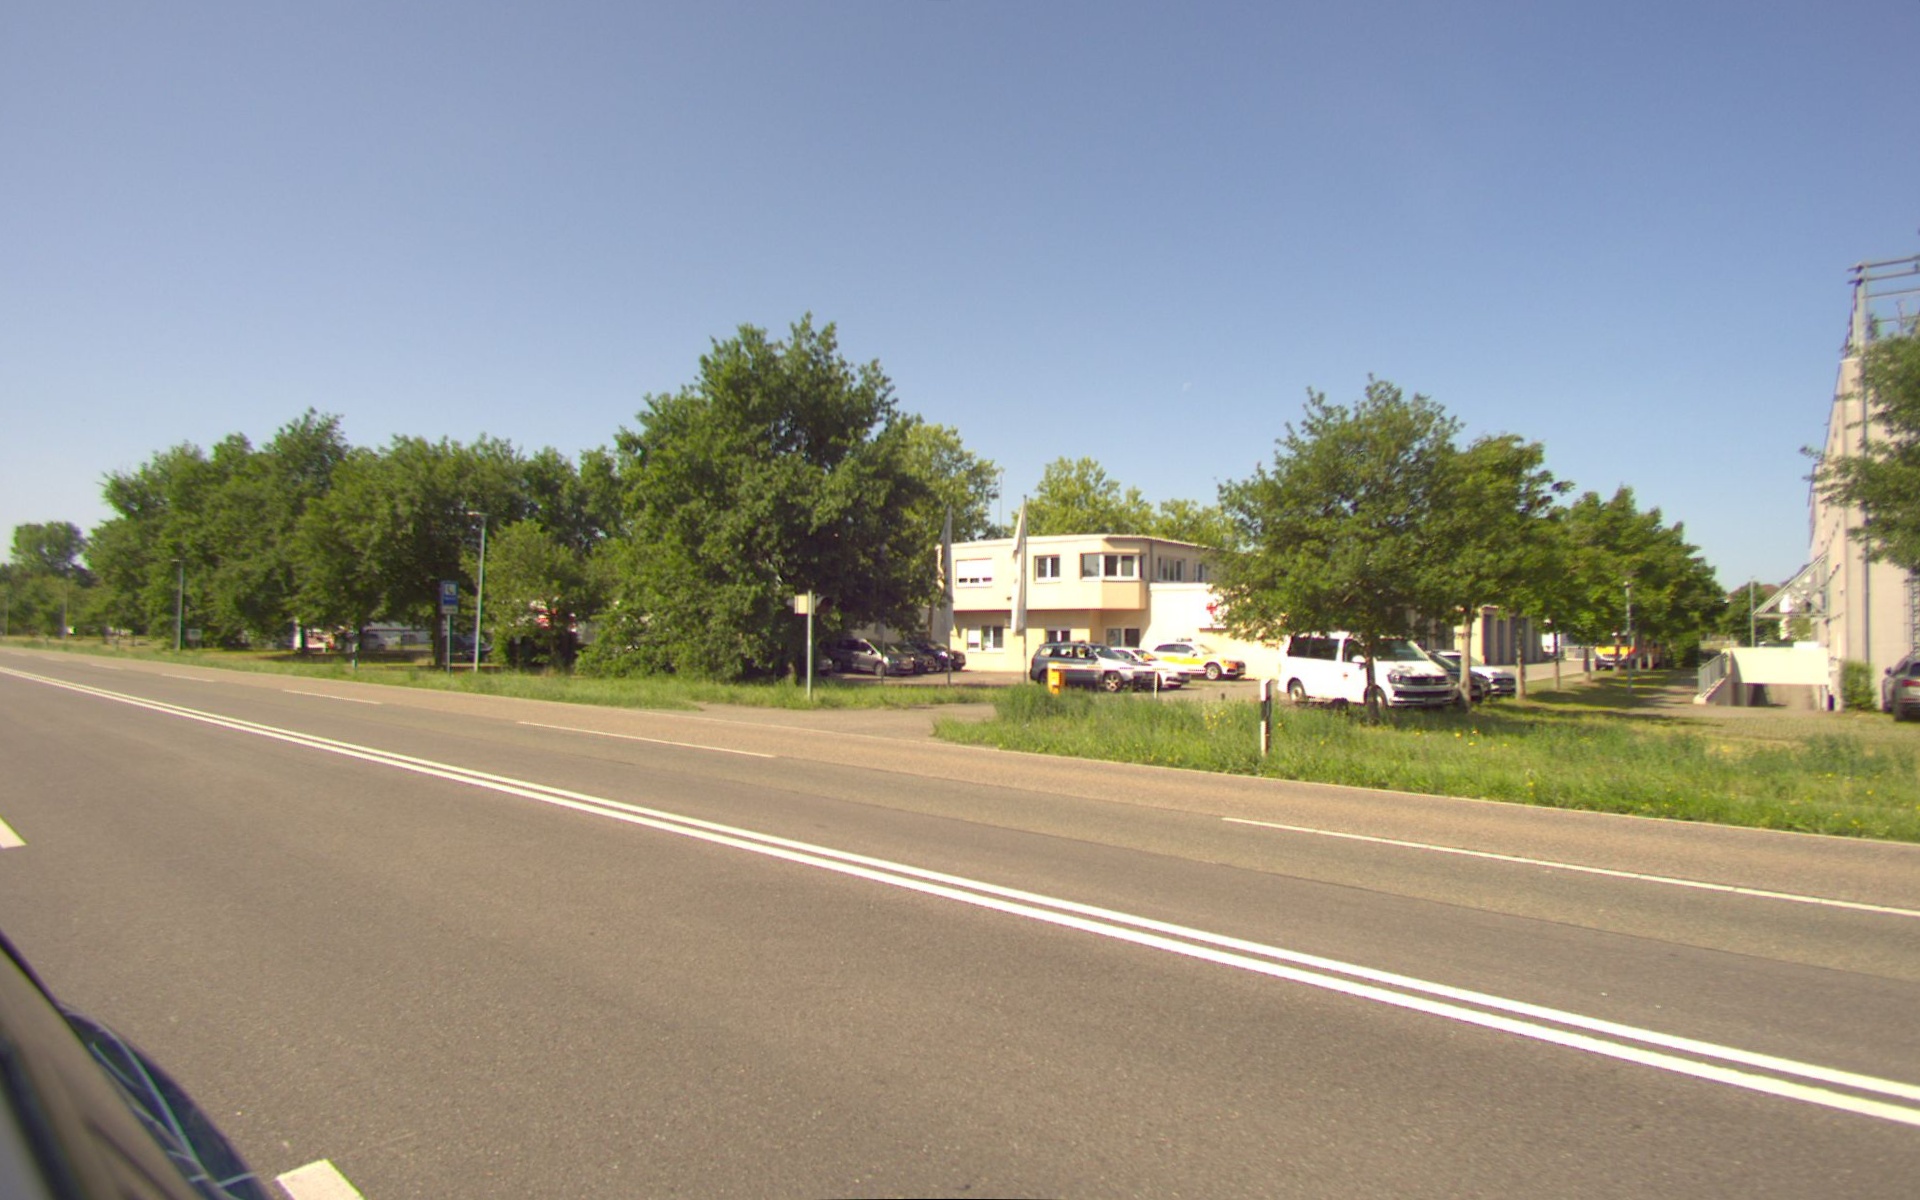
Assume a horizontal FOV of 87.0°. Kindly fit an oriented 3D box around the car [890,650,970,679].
[{"bbox_3d":[-1.539,3.213,51.199,3.998,1.360,1.655,-2,-3,41],"label":"car"}]

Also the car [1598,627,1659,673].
[{"bbox_3d":[40.306,2.972,60.935,2.284,2.629,6.510,-1,-3,40],"label":"car"}]

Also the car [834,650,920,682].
[{"bbox_3d":[-3.875,3.037,46.878,3.998,1.360,1.655,-2,-3,41],"label":"car"}]

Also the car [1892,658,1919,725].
[{"bbox_3d":[24.667,2.252,25.187,1.886,1.548,3.947,-2,-3,39],"label":"car"}]

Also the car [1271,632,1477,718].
[{"bbox_3d":[10.360,1.806,25.854,2.038,1.944,5.031,1,-2,-19],"label":"car"}]

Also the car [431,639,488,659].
[{"bbox_3d":[-35.478,3.471,71.702,4.657,1.360,1.770,-1,-4,39],"label":"car"}]

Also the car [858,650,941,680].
[{"bbox_3d":[-2.976,3.132,49.300,3.998,1.360,1.655,-2,-3,41],"label":"car"}]

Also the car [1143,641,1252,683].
[{"bbox_3d":[10.105,2.619,43.175,4.166,1.670,1.837,-2,-3,41],"label":"car"}]

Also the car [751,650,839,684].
[{"bbox_3d":[-7.246,2.907,44.240,3.998,1.360,1.655,-2,-3,41],"label":"car"}]

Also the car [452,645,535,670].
[{"bbox_3d":[-29.383,3.613,63.812,1.856,1.335,4.305,0,-5,40],"label":"car"}]

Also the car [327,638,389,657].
[{"bbox_3d":[-48.582,3.844,81.740,1.756,1.512,3.946,-2,-3,40],"label":"car"}]

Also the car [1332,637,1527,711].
[{"bbox_3d":[12.959,1.980,28.379,2.038,1.820,5.031,1,-2,-19],"label":"car"}]

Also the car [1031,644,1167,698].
[{"bbox_3d":[4.665,2.328,34.186,4.188,1.664,1.909,-1,-3,40],"label":"car"}]

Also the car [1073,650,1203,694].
[{"bbox_3d":[6.263,2.511,35.850,4.188,1.404,1.909,-1,-3,40],"label":"car"}]

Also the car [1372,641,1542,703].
[{"bbox_3d":[16.170,2.278,33.306,2.038,1.820,5.031,1,-2,-19],"label":"car"}]
